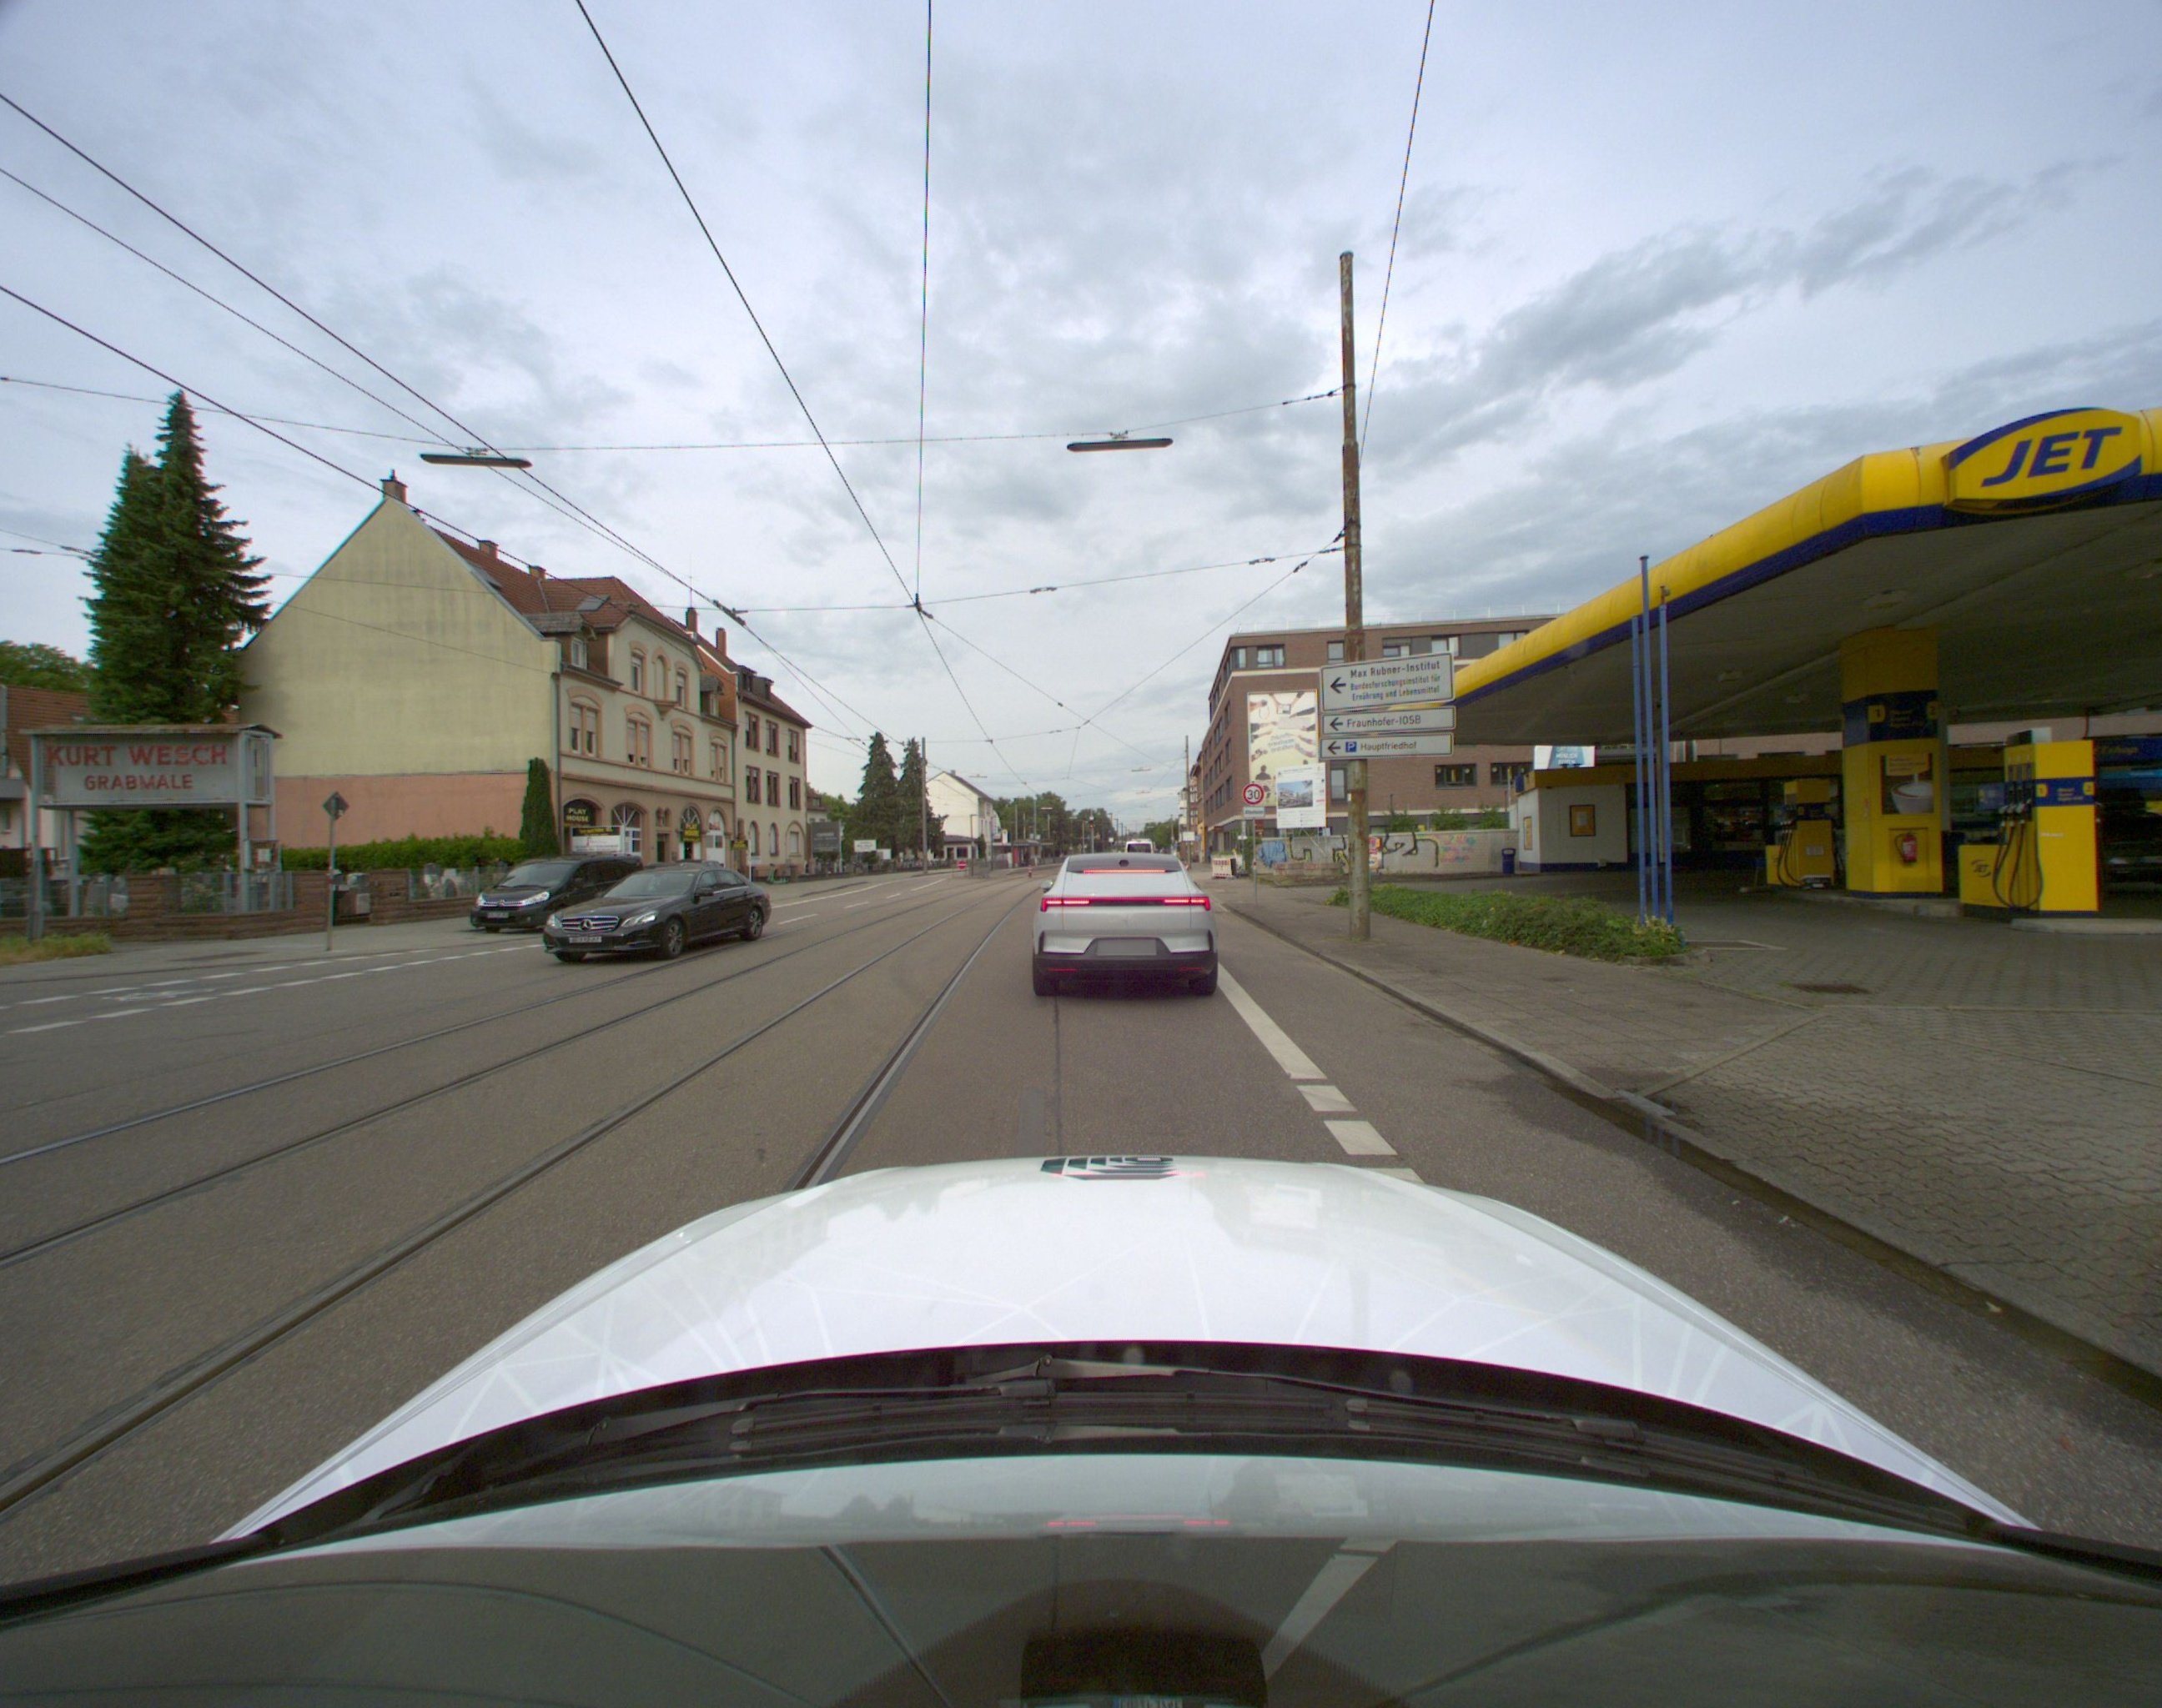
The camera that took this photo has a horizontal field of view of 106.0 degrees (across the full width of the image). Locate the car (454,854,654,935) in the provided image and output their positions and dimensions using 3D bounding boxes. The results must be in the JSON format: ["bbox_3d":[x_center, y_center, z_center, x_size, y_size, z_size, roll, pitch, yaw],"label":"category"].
[{"bbox_3d":[-13.619,0.964,21.518,1.985,1.887,4.998,0,-1,0],"label":"car"}]

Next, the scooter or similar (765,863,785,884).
[{"bbox_3d":[-18.022,1.136,47.933,1.056,1.188,0.315,1,-1,-35],"label":"scooter or similar"}]

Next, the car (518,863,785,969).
[{"bbox_3d":[-7.198,0.941,14.398,1.939,1.427,4.889,-2,0,2],"label":"car"}]

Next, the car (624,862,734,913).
[{"bbox_3d":[-14.266,1.140,29.189,1.839,1.718,4.191,0,-1,-1],"label":"car"}]

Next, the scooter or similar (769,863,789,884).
[{"bbox_3d":[-17.609,1.148,47.519,1.056,1.188,0.315,1,-1,-35],"label":"scooter or similar"}]

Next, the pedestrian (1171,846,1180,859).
[{"bbox_3d":[14.624,-0.222,125.864,1.215,2.013,0.934,-2,0,1],"label":"pedestrian"}]

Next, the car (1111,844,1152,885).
[{"bbox_3d":[2.550,0.518,41.965,1.986,2.014,4.001,0,-1,1],"label":"car"}]

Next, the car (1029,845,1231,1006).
[{"bbox_3d":[0.407,0.692,10.010,1.977,1.550,4.179,0,0,-2],"label":"car"}]

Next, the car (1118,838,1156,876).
[{"bbox_3d":[3.654,0.212,54.256,2.209,2.423,4.950,0,-1,0],"label":"car"}]

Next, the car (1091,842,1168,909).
[{"bbox_3d":[1.312,0.587,23.495,1.963,1.756,3.836,0,-1,-1],"label":"car"}]

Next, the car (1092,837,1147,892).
[{"bbox_3d":[1.457,0.411,32.194,1.987,2.014,3.999,0,-1,0],"label":"car"}]

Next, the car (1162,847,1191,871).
[{"bbox_3d":[7.598,0.415,65.243,1.868,1.823,4.096,0,-1,1],"label":"car"}]

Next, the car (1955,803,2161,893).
[{"bbox_3d":[19.446,-0.165,15.921,1.971,1.497,4.353,-3,1,30],"label":"car"}]

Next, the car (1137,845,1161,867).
[{"bbox_3d":[6.838,0.172,82.299,2.132,2.145,4.744,0,0,1],"label":"car"}]
